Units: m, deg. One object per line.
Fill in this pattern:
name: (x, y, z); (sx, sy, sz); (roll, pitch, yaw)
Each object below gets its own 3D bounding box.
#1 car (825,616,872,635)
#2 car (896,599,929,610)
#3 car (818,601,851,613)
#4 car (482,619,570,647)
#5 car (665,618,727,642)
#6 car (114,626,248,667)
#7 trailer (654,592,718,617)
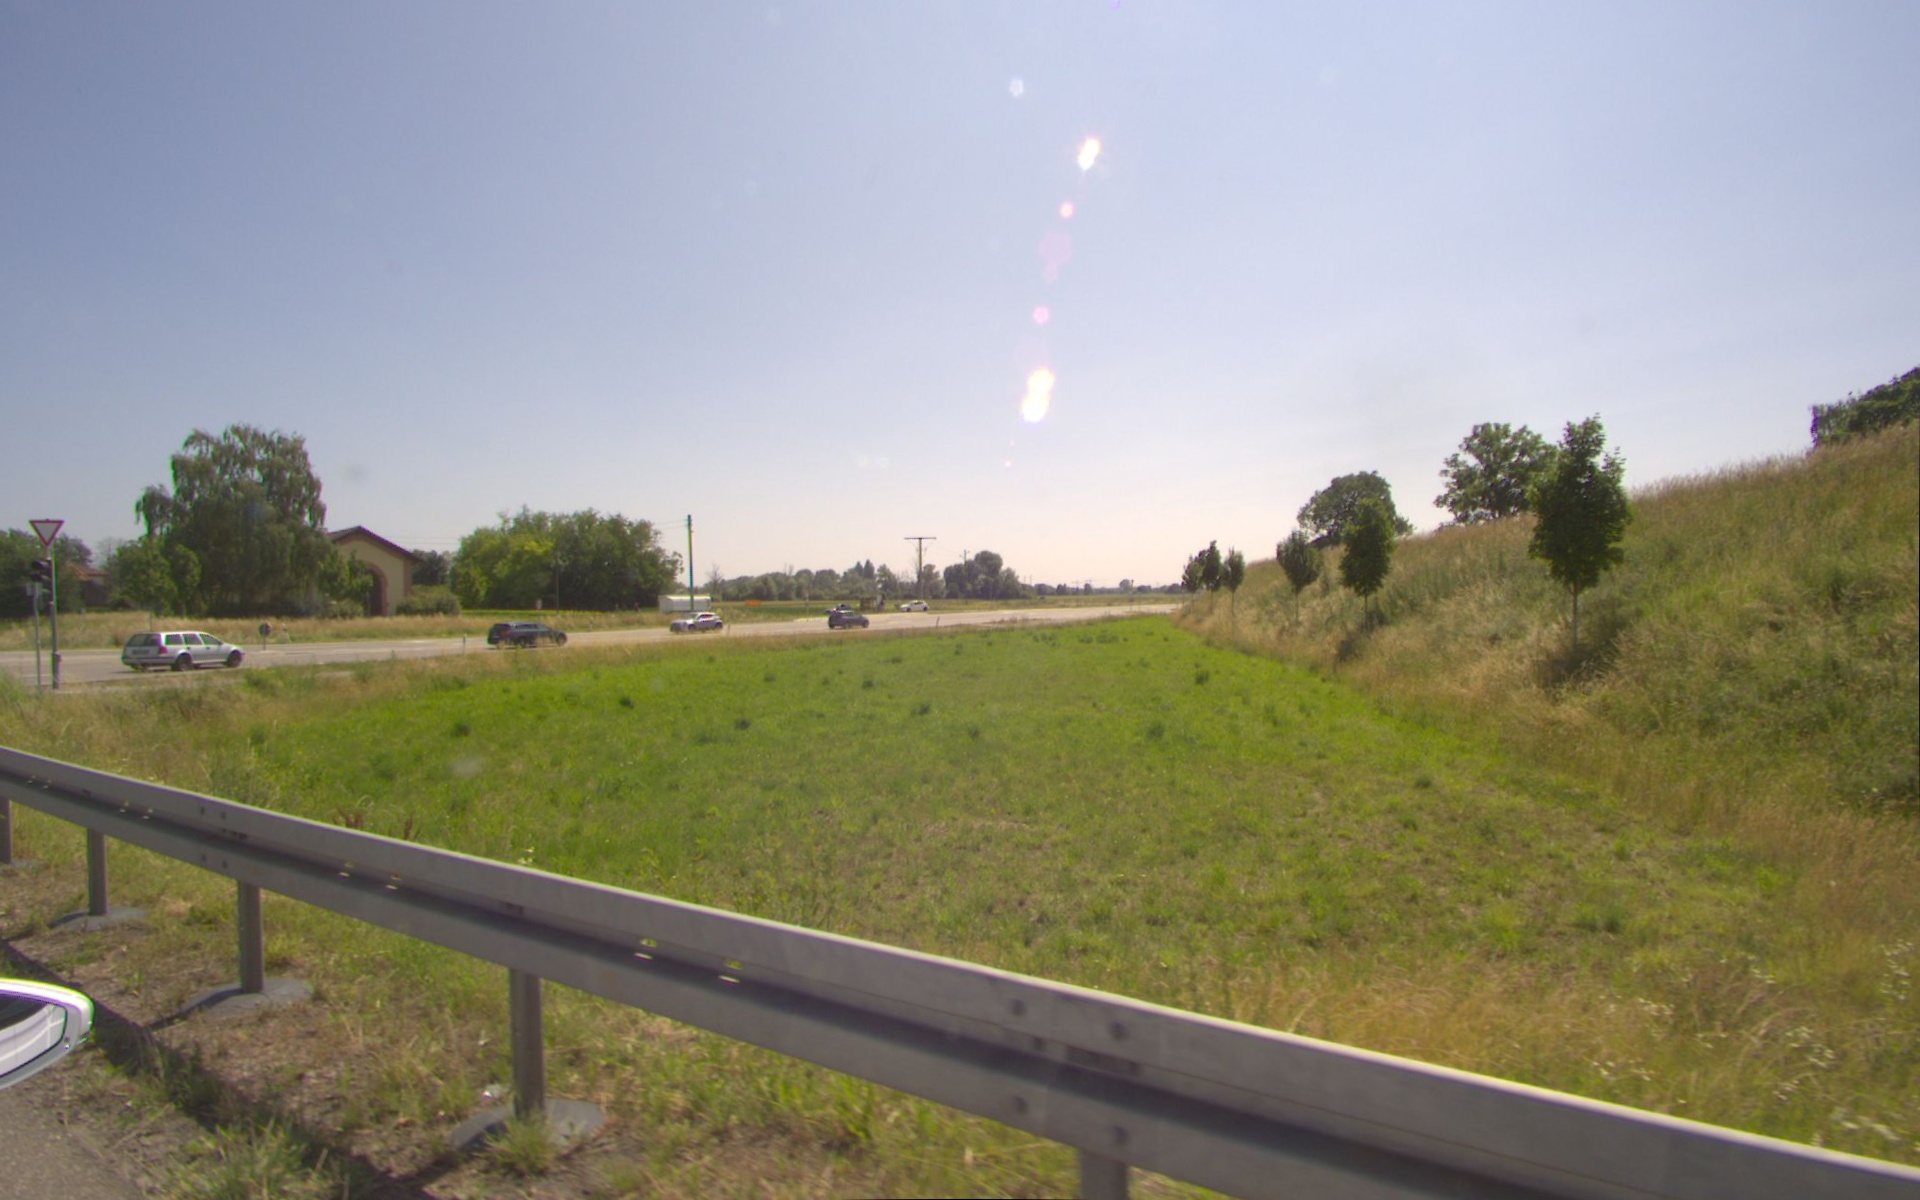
car: (-9.239, 2.085, 83.019); (1.782, 1.541, 3.858); (-1, -1, 36)
car: (-6.211, 0.618, 131.466); (3.979, 1.350, 1.687); (0, 1, -30)
car: (-15.160, 0.859, 121.281); (1.659, 1.406, 3.809); (2, 1, 40)
car: (-23.976, 1.805, 55.505); (1.777, 1.495, 4.400); (-1, -1, 26)
car: (-19.357, 2.181, 73.603); (1.843, 1.565, 4.530); (1, 1, 29)
car: (-28.907, 1.687, 37.323); (1.770, 1.447, 4.094); (-1, -1, 1)
trailer: (-29.338, 0.422, 107.331); (2.651, 2.489, 6.340); (1, 2, 36)
